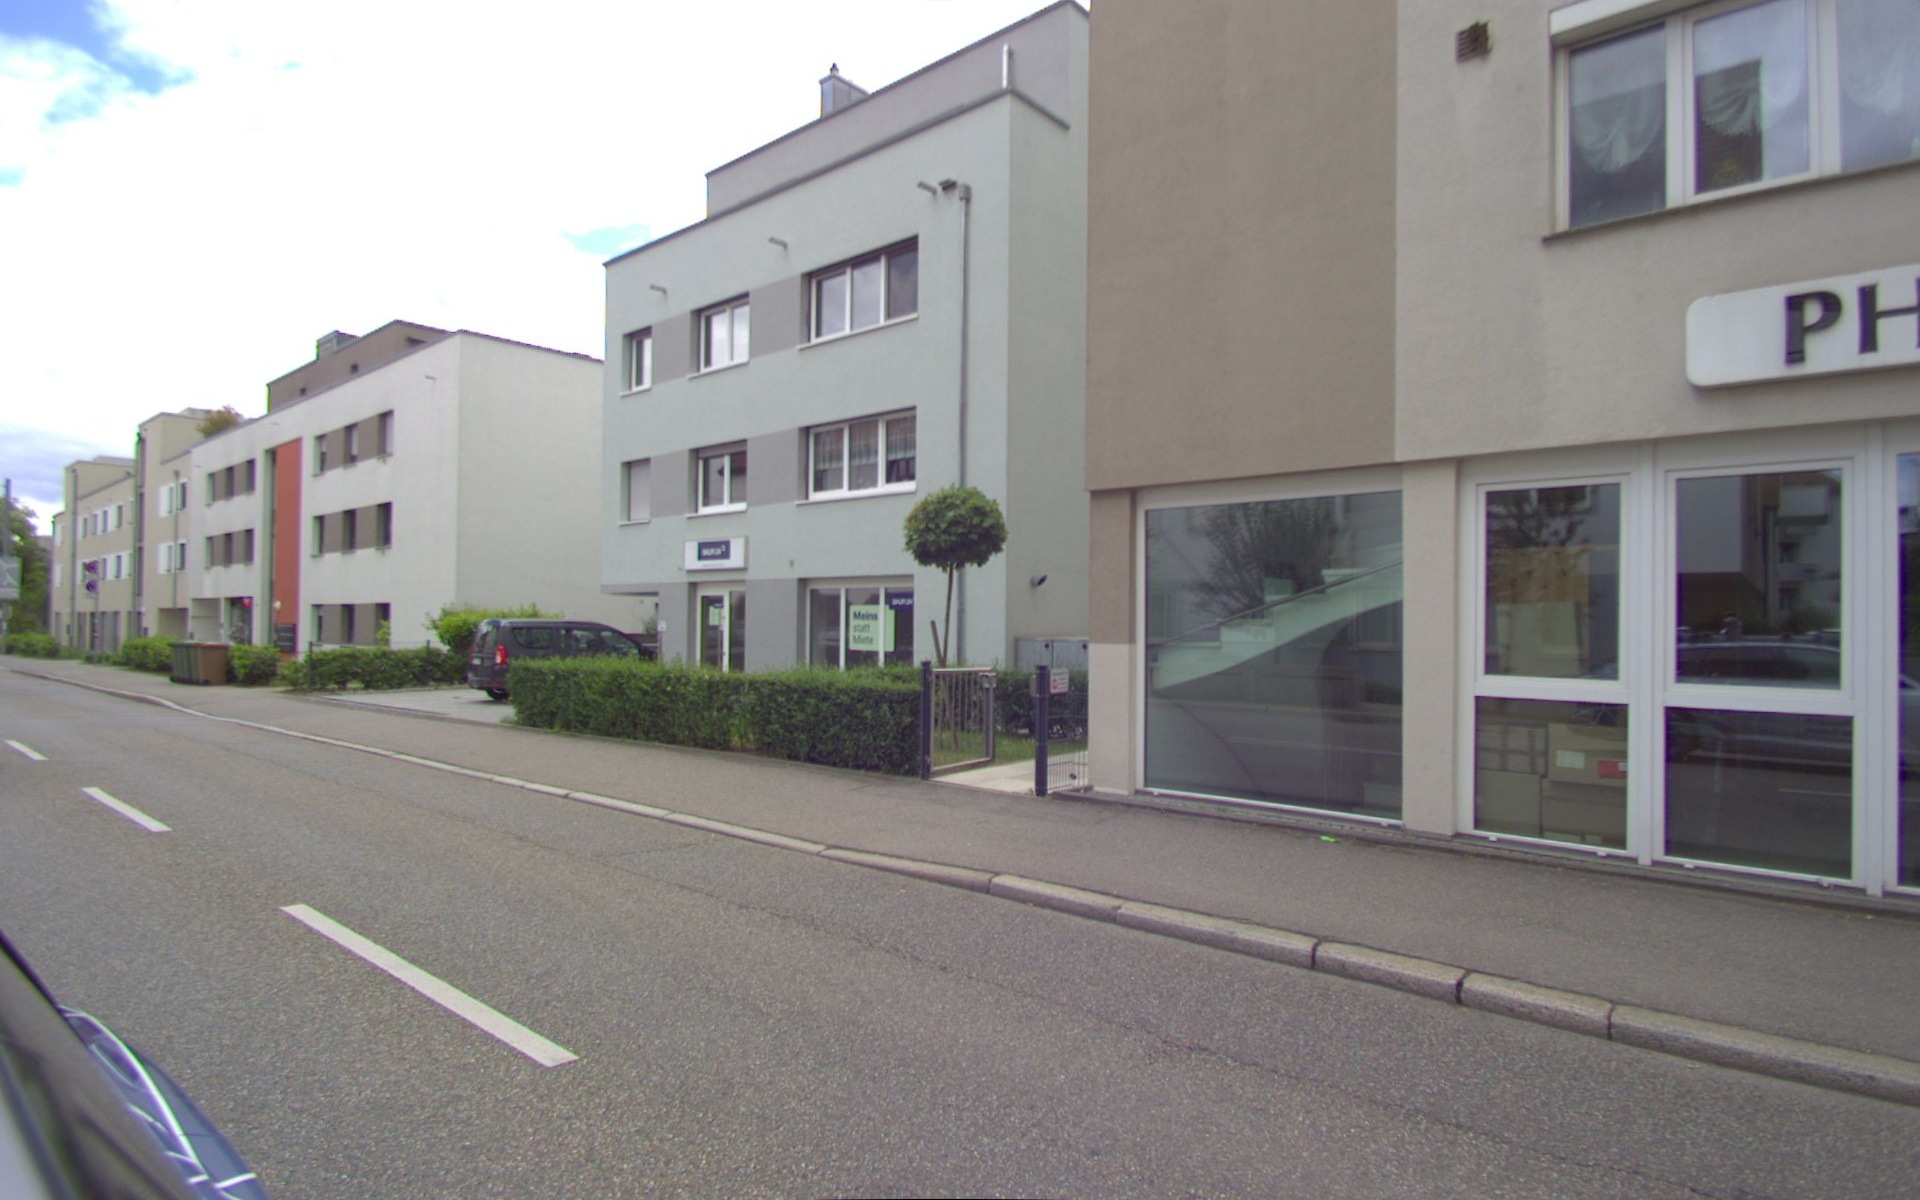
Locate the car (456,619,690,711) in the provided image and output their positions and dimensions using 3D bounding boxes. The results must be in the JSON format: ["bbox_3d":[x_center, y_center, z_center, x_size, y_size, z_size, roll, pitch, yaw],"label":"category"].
[{"bbox_3d":[-7.798,1.259,20.658,1.725,1.680,4.116,-1,-2,44],"label":"car"}]

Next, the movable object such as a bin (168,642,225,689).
[{"bbox_3d":[-19.502,1.661,25.851,0.839,1.160,0.947,-1,-2,37],"label":"movable object such as a bin"}]

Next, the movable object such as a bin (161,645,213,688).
[{"bbox_3d":[-20.172,1.720,26.420,0.791,1.097,0.886,-1,-2,37],"label":"movable object such as a bin"}]

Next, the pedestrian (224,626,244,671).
[{"bbox_3d":[-27.047,1.796,37.695,0.511,1.655,0.642,1,-2,-28],"label":"pedestrian"}]

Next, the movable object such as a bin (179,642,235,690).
[{"bbox_3d":[-18.863,1.638,25.357,0.748,1.160,0.940,-1,-2,37],"label":"movable object such as a bin"}]

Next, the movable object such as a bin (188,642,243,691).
[{"bbox_3d":[-18.314,1.611,24.894,0.612,1.160,0.932,-1,-2,37],"label":"movable object such as a bin"}]
